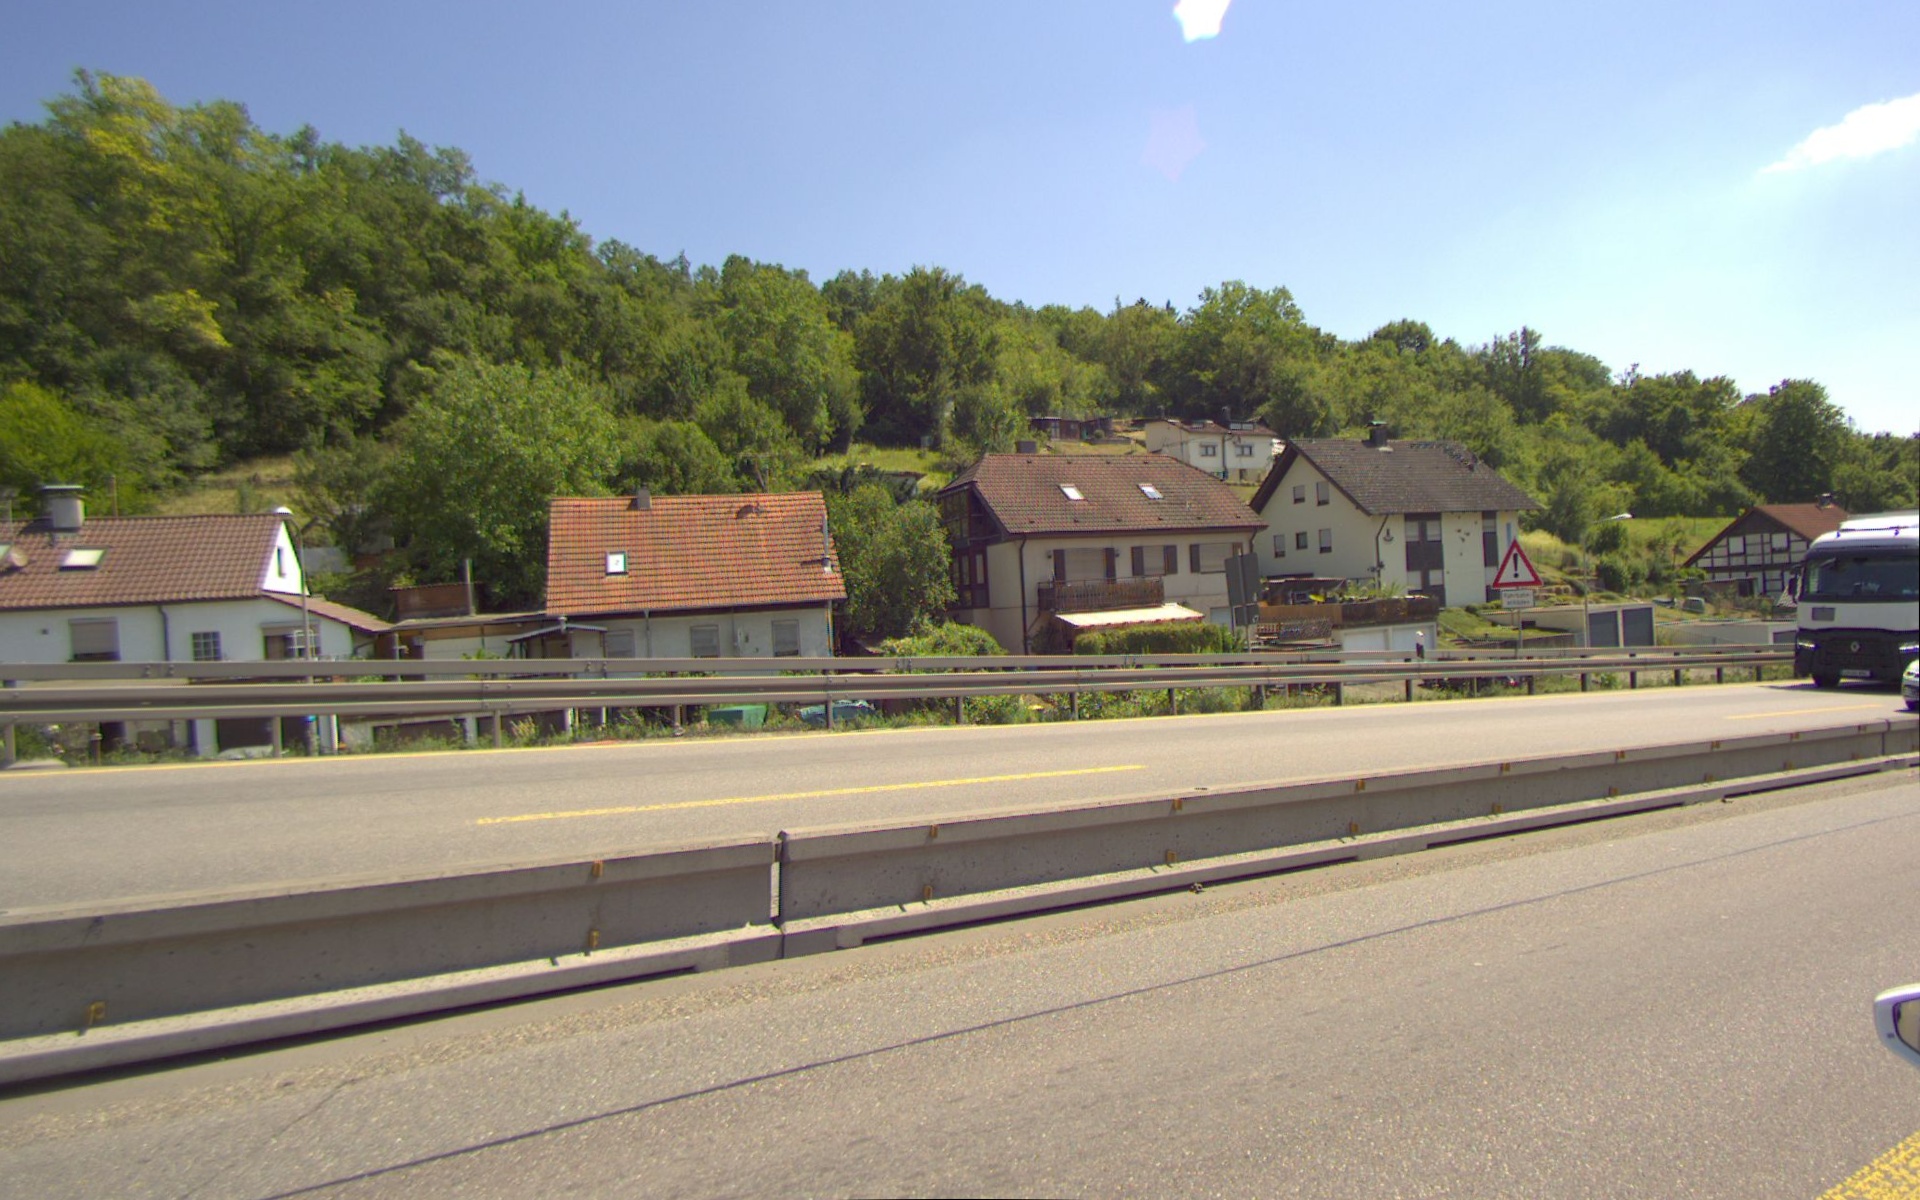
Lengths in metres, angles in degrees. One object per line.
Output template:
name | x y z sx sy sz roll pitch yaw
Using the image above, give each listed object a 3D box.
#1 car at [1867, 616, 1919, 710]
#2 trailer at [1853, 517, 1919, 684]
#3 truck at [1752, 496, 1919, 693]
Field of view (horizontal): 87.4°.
car | 17.841 1.082 17.518 4.136 1.555 1.665 1 -1 -27
trailer | 28.994 0.102 27.339 11.669 4.134 3.123 1 0 -28
truck | 22.522 -0.054 23.969 6.789 4.134 3.124 1 0 -27
